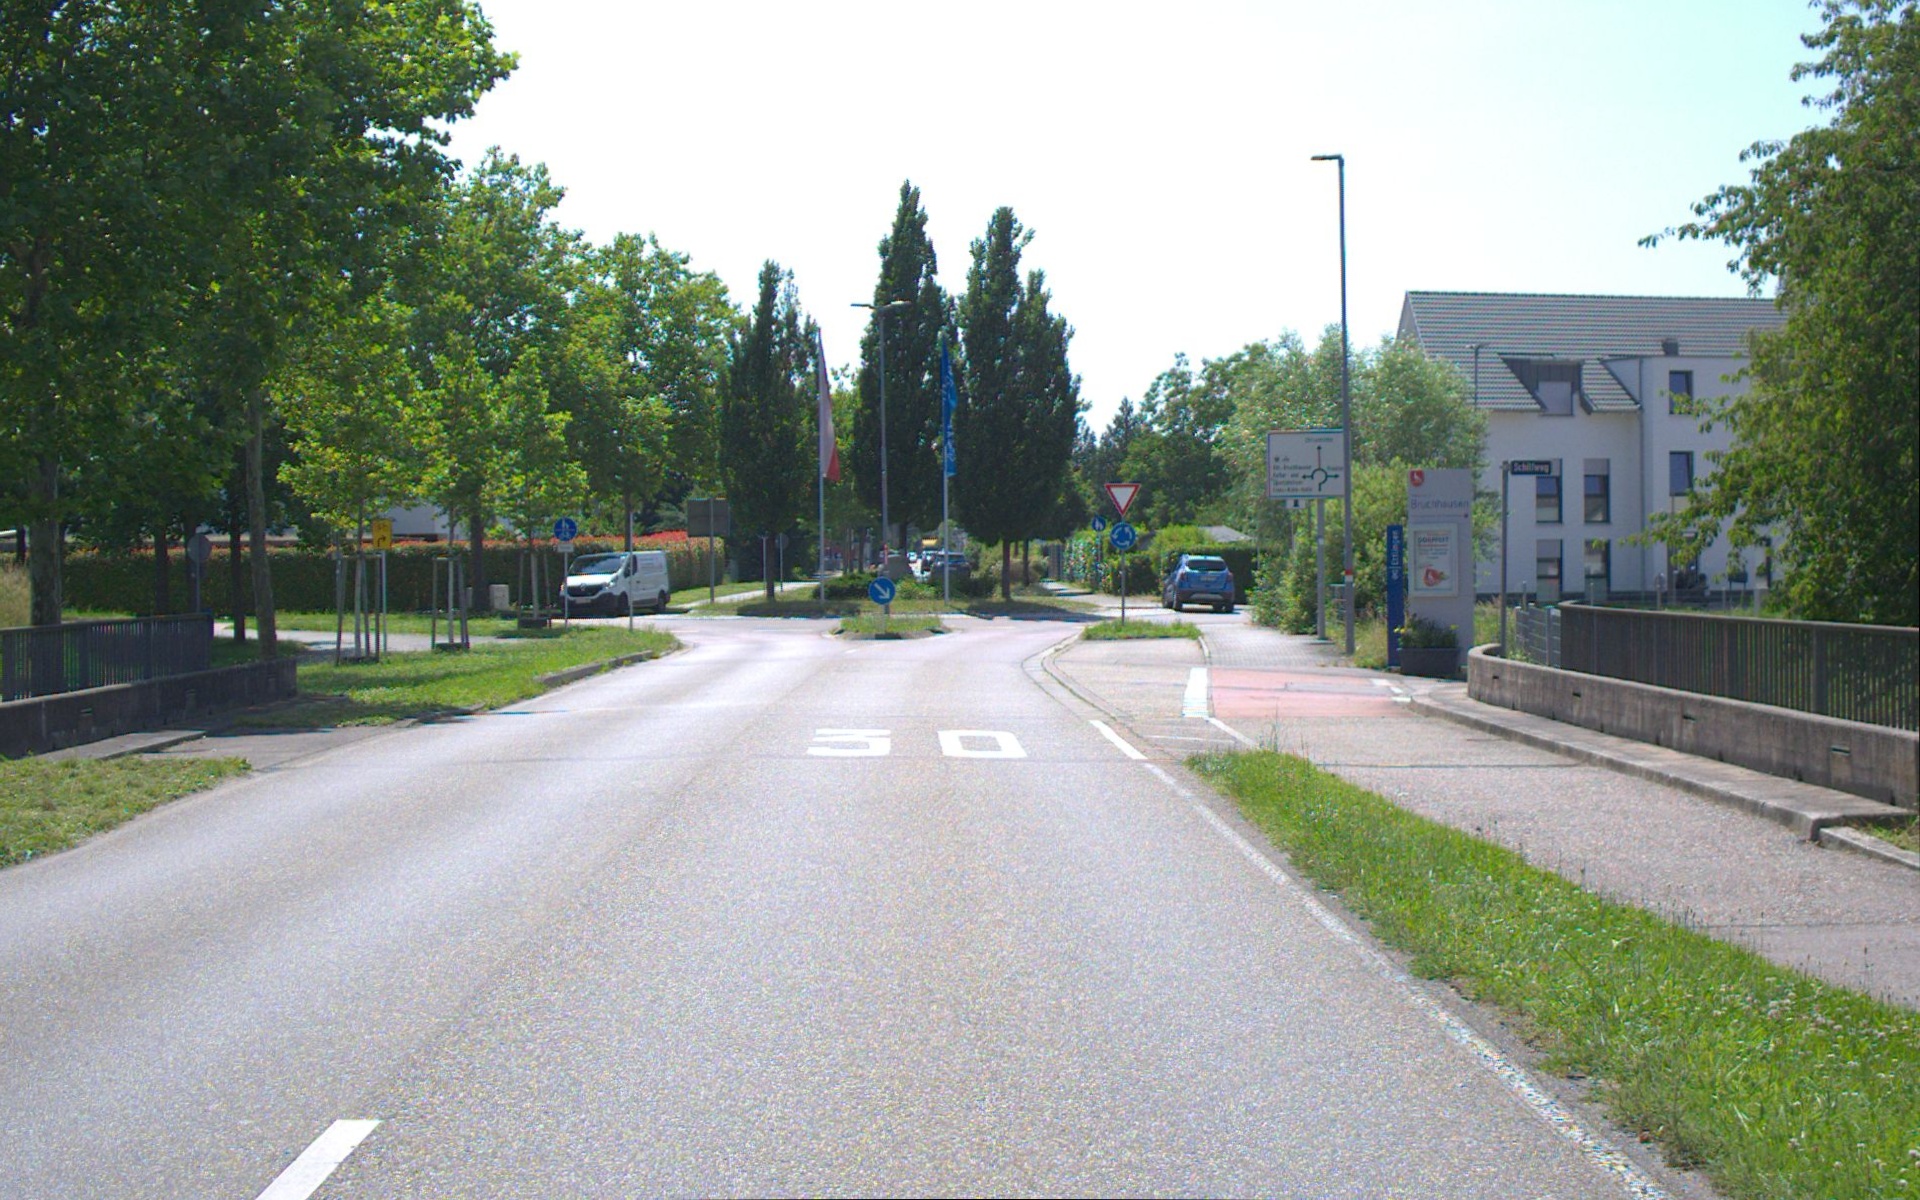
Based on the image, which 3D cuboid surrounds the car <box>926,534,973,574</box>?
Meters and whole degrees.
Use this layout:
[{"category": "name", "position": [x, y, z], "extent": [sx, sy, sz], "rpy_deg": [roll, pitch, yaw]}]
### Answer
[{"category": "car", "position": [-0.463, -2.121, 156.601], "extent": [1.993, 1.764, 4.000], "rpy_deg": [-1, 1, 2]}]

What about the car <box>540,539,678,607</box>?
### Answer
[{"category": "car", "position": [-10.603, -0.808, 104.299], "extent": [2.130, 2.007, 5.143], "rpy_deg": [1, 0, 20]}]

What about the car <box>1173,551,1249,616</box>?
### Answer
[{"category": "car", "position": [7.527, -0.495, 103.314], "extent": [1.923, 1.879, 4.000], "rpy_deg": [1, 0, -1]}]
